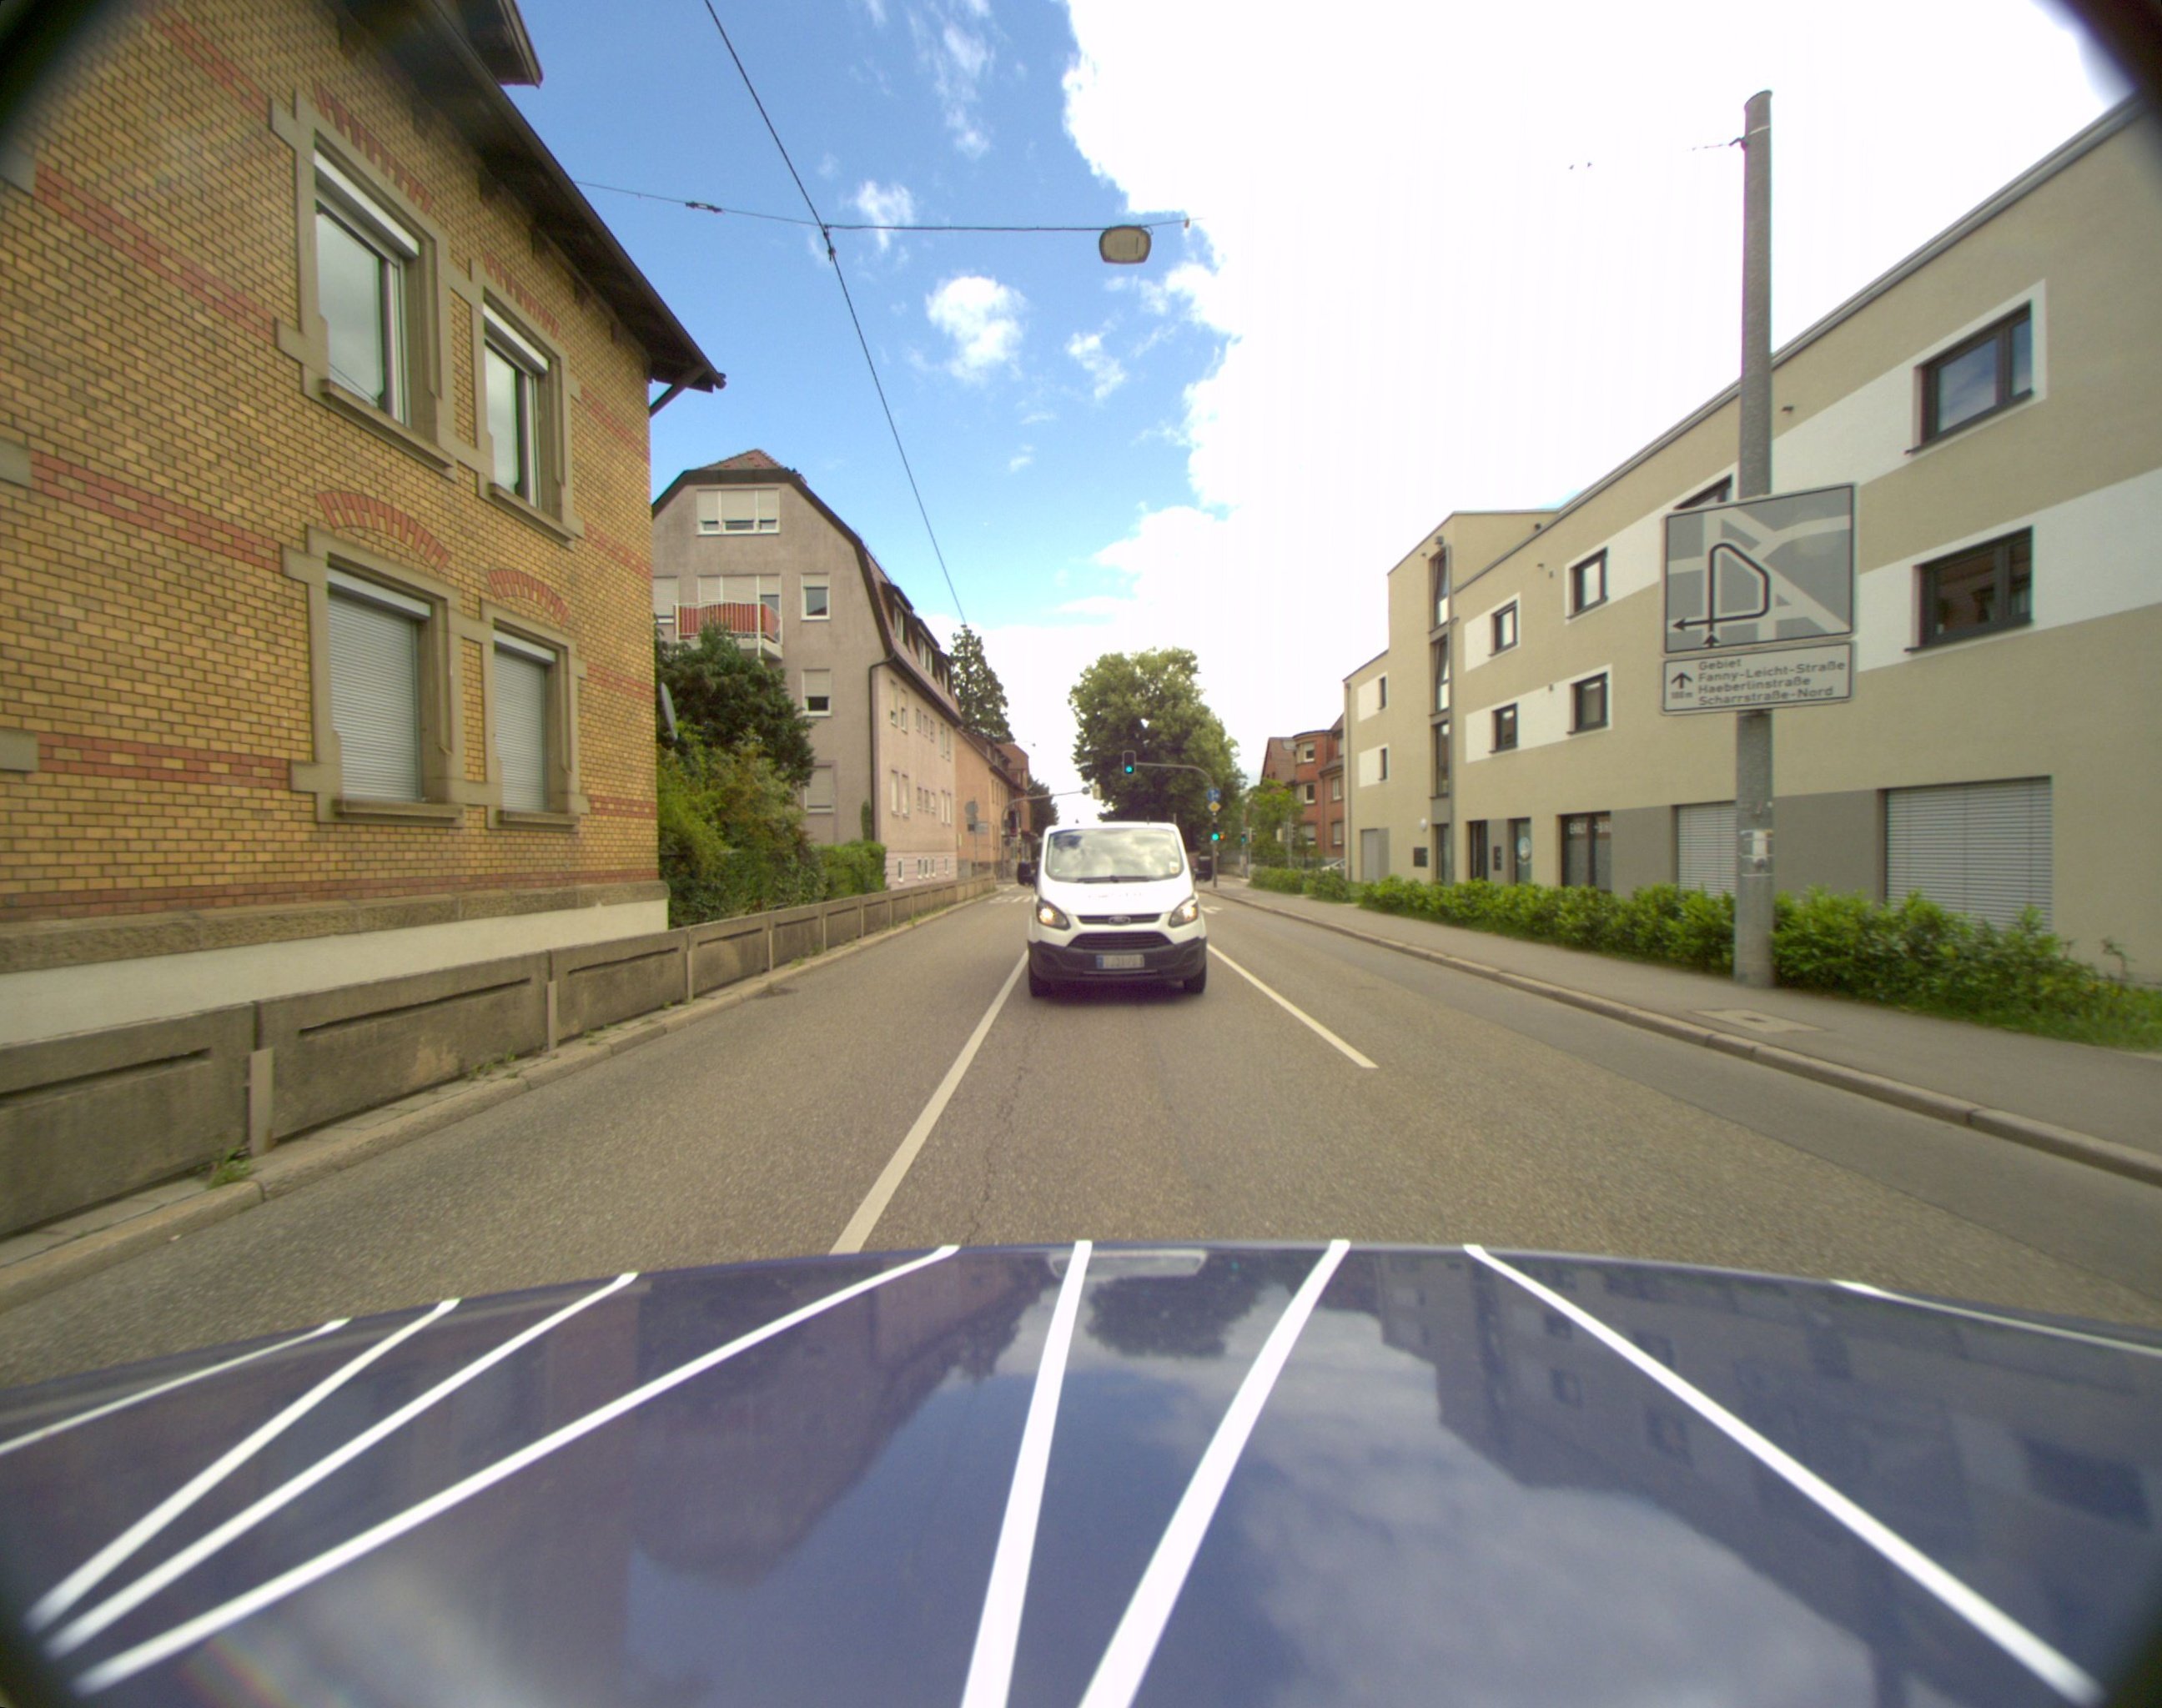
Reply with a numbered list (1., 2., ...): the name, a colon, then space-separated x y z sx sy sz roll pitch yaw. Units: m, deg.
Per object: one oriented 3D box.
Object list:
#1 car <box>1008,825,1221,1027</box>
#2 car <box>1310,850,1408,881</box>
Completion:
1. car: 0.339 0.696 9.968 2.062 1.945 5.060 -1 0 0
2. car: 16.040 0.649 43.982 4.813 1.675 2.175 -1 0 -4
